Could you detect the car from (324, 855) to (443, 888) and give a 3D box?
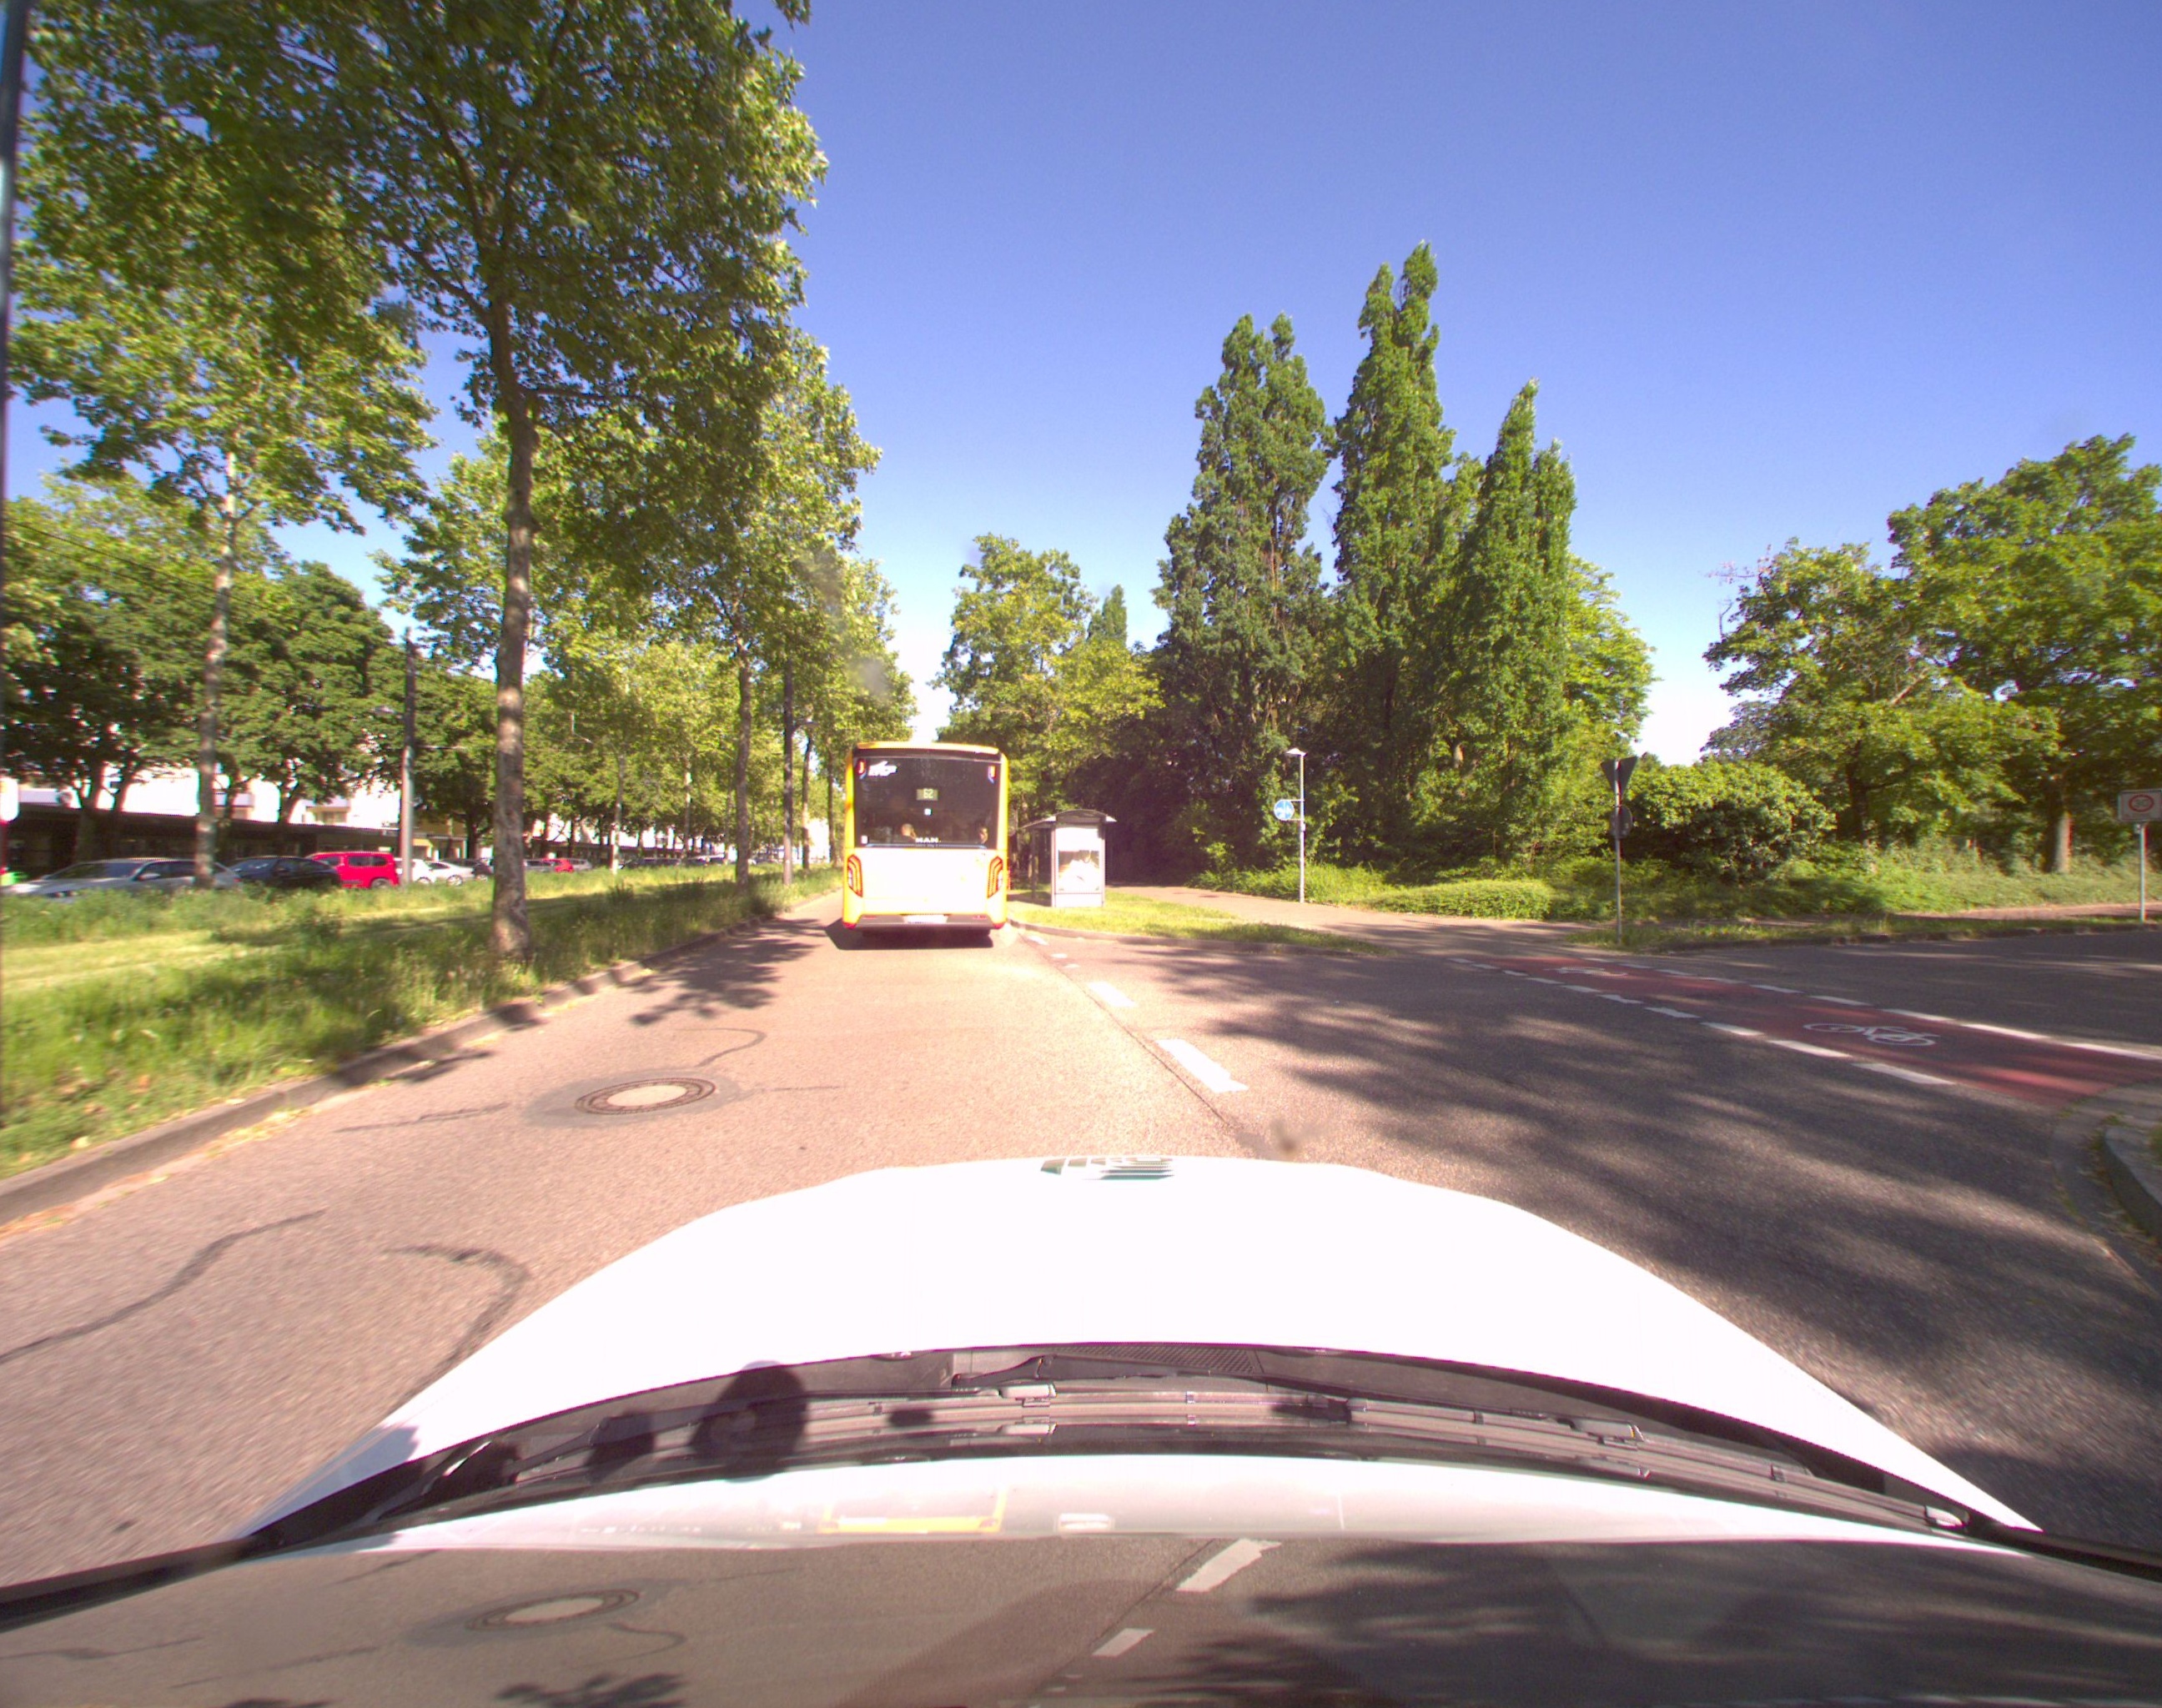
[{"bbox_3d":[-33.410,0.808,39.124,1.777,1.510,4.025,0,0,34],"label":"car"}]

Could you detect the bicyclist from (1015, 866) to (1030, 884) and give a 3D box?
[{"bbox_3d":[-5.493,1.967,76.477,1.182,1.661,1.023,0,-1,-18],"label":"bicyclist"}]

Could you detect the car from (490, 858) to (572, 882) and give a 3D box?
[{"bbox_3d":[-35.863,1.006,53.189,1.777,1.510,4.025,0,0,34],"label":"car"}]

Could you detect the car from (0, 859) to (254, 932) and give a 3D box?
[{"bbox_3d":[-22.669,0.875,19.410,1.795,1.510,4.657,0,0,-11],"label":"car"}]

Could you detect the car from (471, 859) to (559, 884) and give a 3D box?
[{"bbox_3d":[-34.767,1.042,50.112,1.777,1.510,4.025,0,0,34],"label":"car"}]

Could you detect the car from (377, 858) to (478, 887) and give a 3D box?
[{"bbox_3d":[-35.813,0.978,44.716,1.777,1.510,4.025,0,0,37],"label":"car"}]

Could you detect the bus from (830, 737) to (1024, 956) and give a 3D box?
[{"bbox_3d":[-3.344,-0.084,18.425,2.900,3.267,12.176,0,0,-10],"label":"bus"}]

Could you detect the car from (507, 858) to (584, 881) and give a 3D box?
[{"bbox_3d":[-37.016,1.017,56.379,1.777,1.510,4.025,0,0,34],"label":"car"}]

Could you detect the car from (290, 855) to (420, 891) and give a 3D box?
[{"bbox_3d":[-32.309,0.808,36.358,1.777,1.510,4.025,0,0,34],"label":"car"}]

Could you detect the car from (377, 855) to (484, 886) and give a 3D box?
[{"bbox_3d":[-34.092,0.835,42.776,1.777,1.510,4.025,0,0,34],"label":"car"}]

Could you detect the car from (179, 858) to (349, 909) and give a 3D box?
[{"bbox_3d":[-26.217,0.889,26.352,1.793,1.510,3.990,0,0,-7],"label":"car"}]

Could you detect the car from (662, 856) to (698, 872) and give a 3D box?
[{"bbox_3d":[-38.703,0.968,78.645,1.792,1.510,3.992,0,0,-6],"label":"car"}]
